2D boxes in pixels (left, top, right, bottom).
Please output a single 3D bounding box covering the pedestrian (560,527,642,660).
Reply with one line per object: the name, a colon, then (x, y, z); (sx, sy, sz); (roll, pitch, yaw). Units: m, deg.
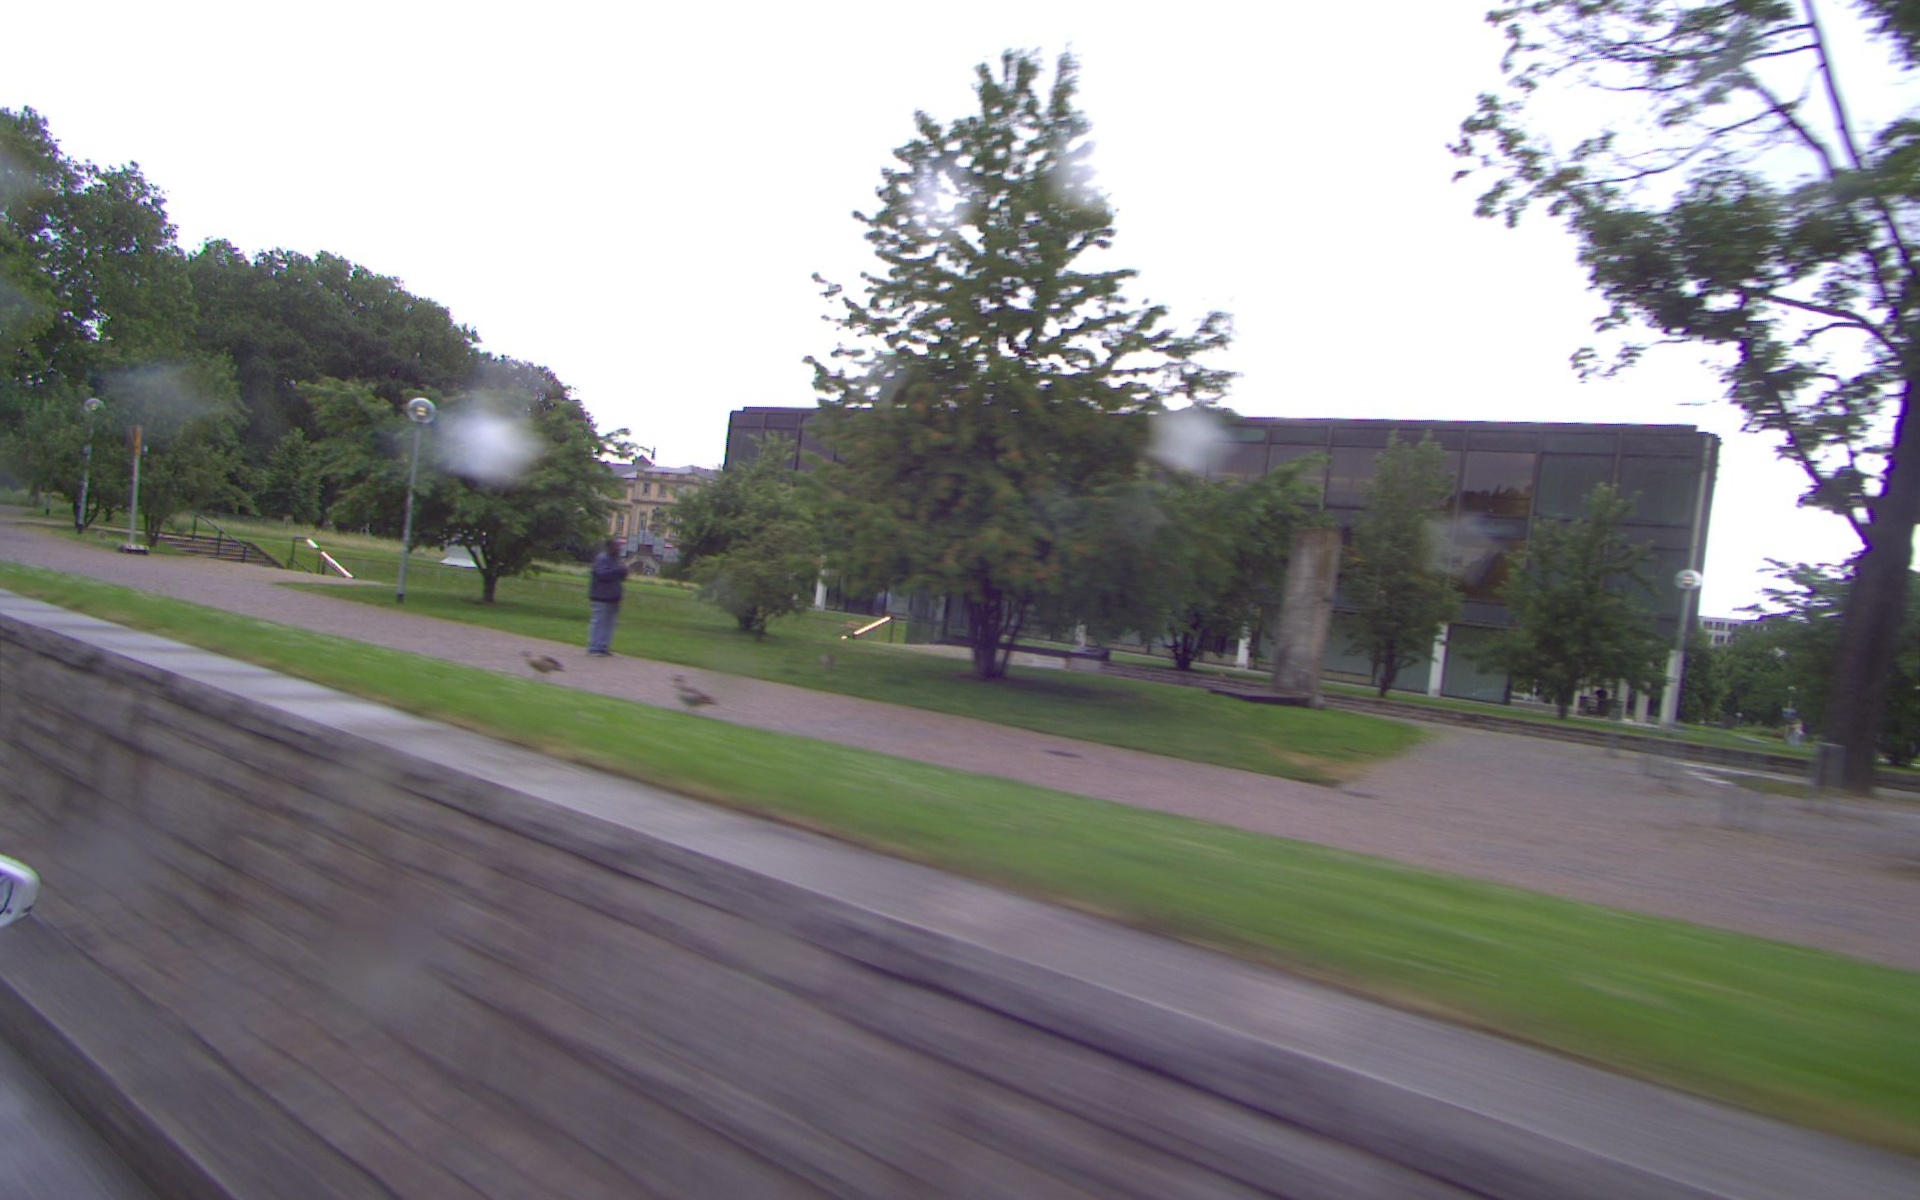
pedestrian: (-5.065, -0.085, 14.208); (0.713, 1.778, 0.595); (8, 2, 27)
